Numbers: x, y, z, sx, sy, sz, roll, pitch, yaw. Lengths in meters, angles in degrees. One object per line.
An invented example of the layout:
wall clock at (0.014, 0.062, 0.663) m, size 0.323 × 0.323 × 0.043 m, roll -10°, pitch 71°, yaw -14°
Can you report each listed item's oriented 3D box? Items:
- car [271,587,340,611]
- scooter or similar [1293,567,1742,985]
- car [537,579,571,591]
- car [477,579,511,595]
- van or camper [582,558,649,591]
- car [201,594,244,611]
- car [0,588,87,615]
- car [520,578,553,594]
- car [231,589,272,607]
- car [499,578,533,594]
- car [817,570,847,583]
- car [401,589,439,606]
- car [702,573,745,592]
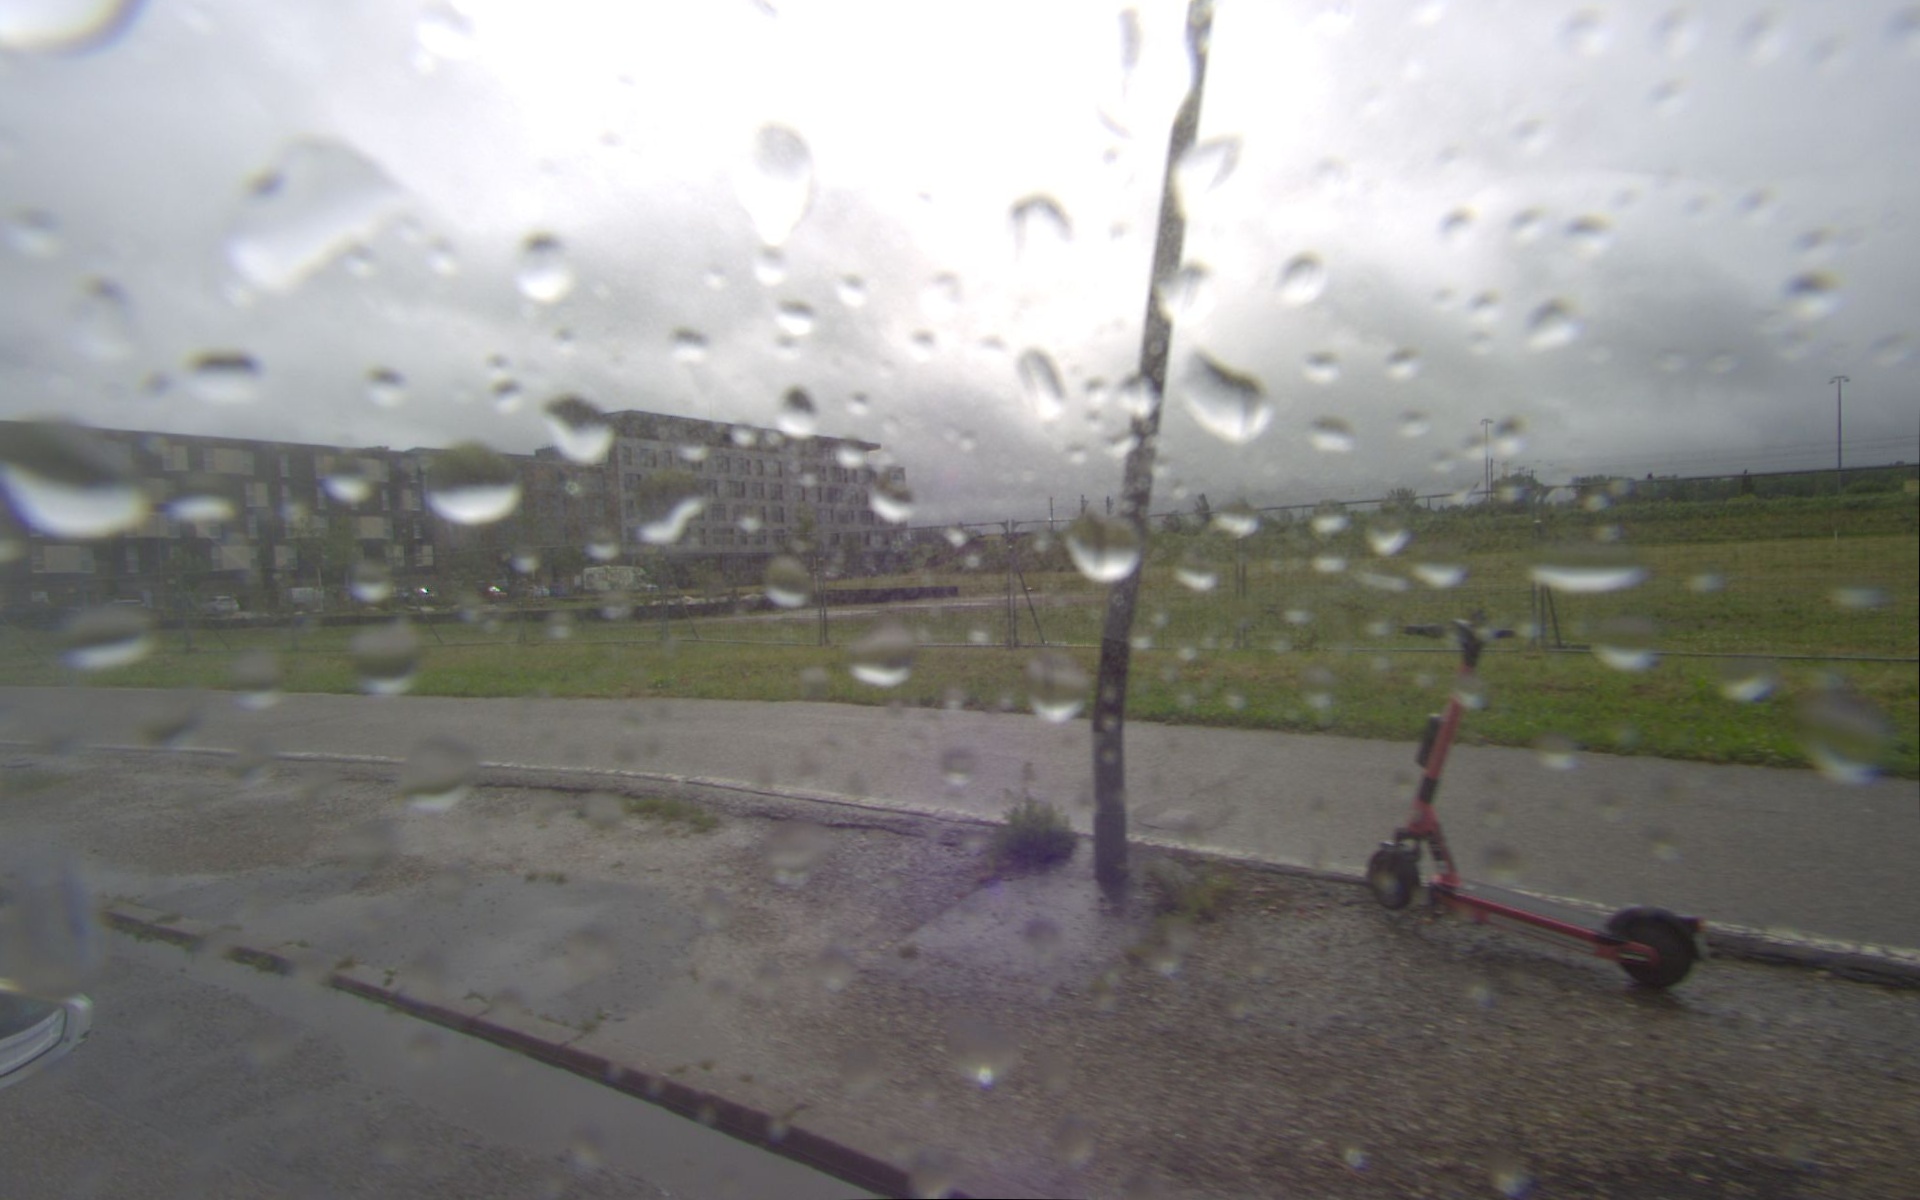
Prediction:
car at (-53.677, -0.077, 82.136) m, size 1.972 × 1.794 × 4.315 m, roll 0°, pitch -2°, yaw 33°
scooter or similar at (1.942, 0.520, 3.611) m, size 0.487 × 1.232 × 1.327 m, roll -4°, pitch 3°, yaw -42°
car at (-46.026, -1.664, 113.498) m, size 3.848 × 1.313 × 1.544 m, roll -1°, pitch 0°, yaw 32°
car at (-49.934, -1.351, 107.255) m, size 3.787 × 1.636 × 1.541 m, roll -1°, pitch 0°, yaw 32°
van or camper at (-37.163, -2.707, 108.340) m, size 2.494 × 3.243 × 6.763 m, roll 0°, pitch 0°, yaw 33°
car at (-63.622, 0.263, 86.331) m, size 3.753 × 1.413 × 1.759 m, roll -1°, pitch 0°, yaw 32°
car at (-62.554, 0.112, 68.406) m, size 1.970 × 1.750 × 3.983 m, roll 0°, pitch -1°, yaw 29°
car at (-47.192, -1.527, 111.515) m, size 3.787 × 1.636 × 1.541 m, roll -1°, pitch 0°, yaw 32°
car at (-62.419, -0.180, 88.171) m, size 3.729 × 1.415 × 1.634 m, roll -2°, pitch 0°, yaw 33°
car at (-48.494, -1.545, 109.270) m, size 3.787 × 1.636 × 1.541 m, roll -1°, pitch 0°, yaw 32°
car at (-18.737, -3.471, 146.499) m, size 4.311 × 1.710 × 1.788 m, roll -1°, pitch 0°, yaw 36°
car at (-54.106, -0.259, 100.288) m, size 3.787 × 1.636 × 1.776 m, roll -1°, pitch 0°, yaw 32°
car at (-27.872, -2.033, 118.125) m, size 1.974 × 2.040 × 4.780 m, roll 0°, pitch 0°, yaw 36°
